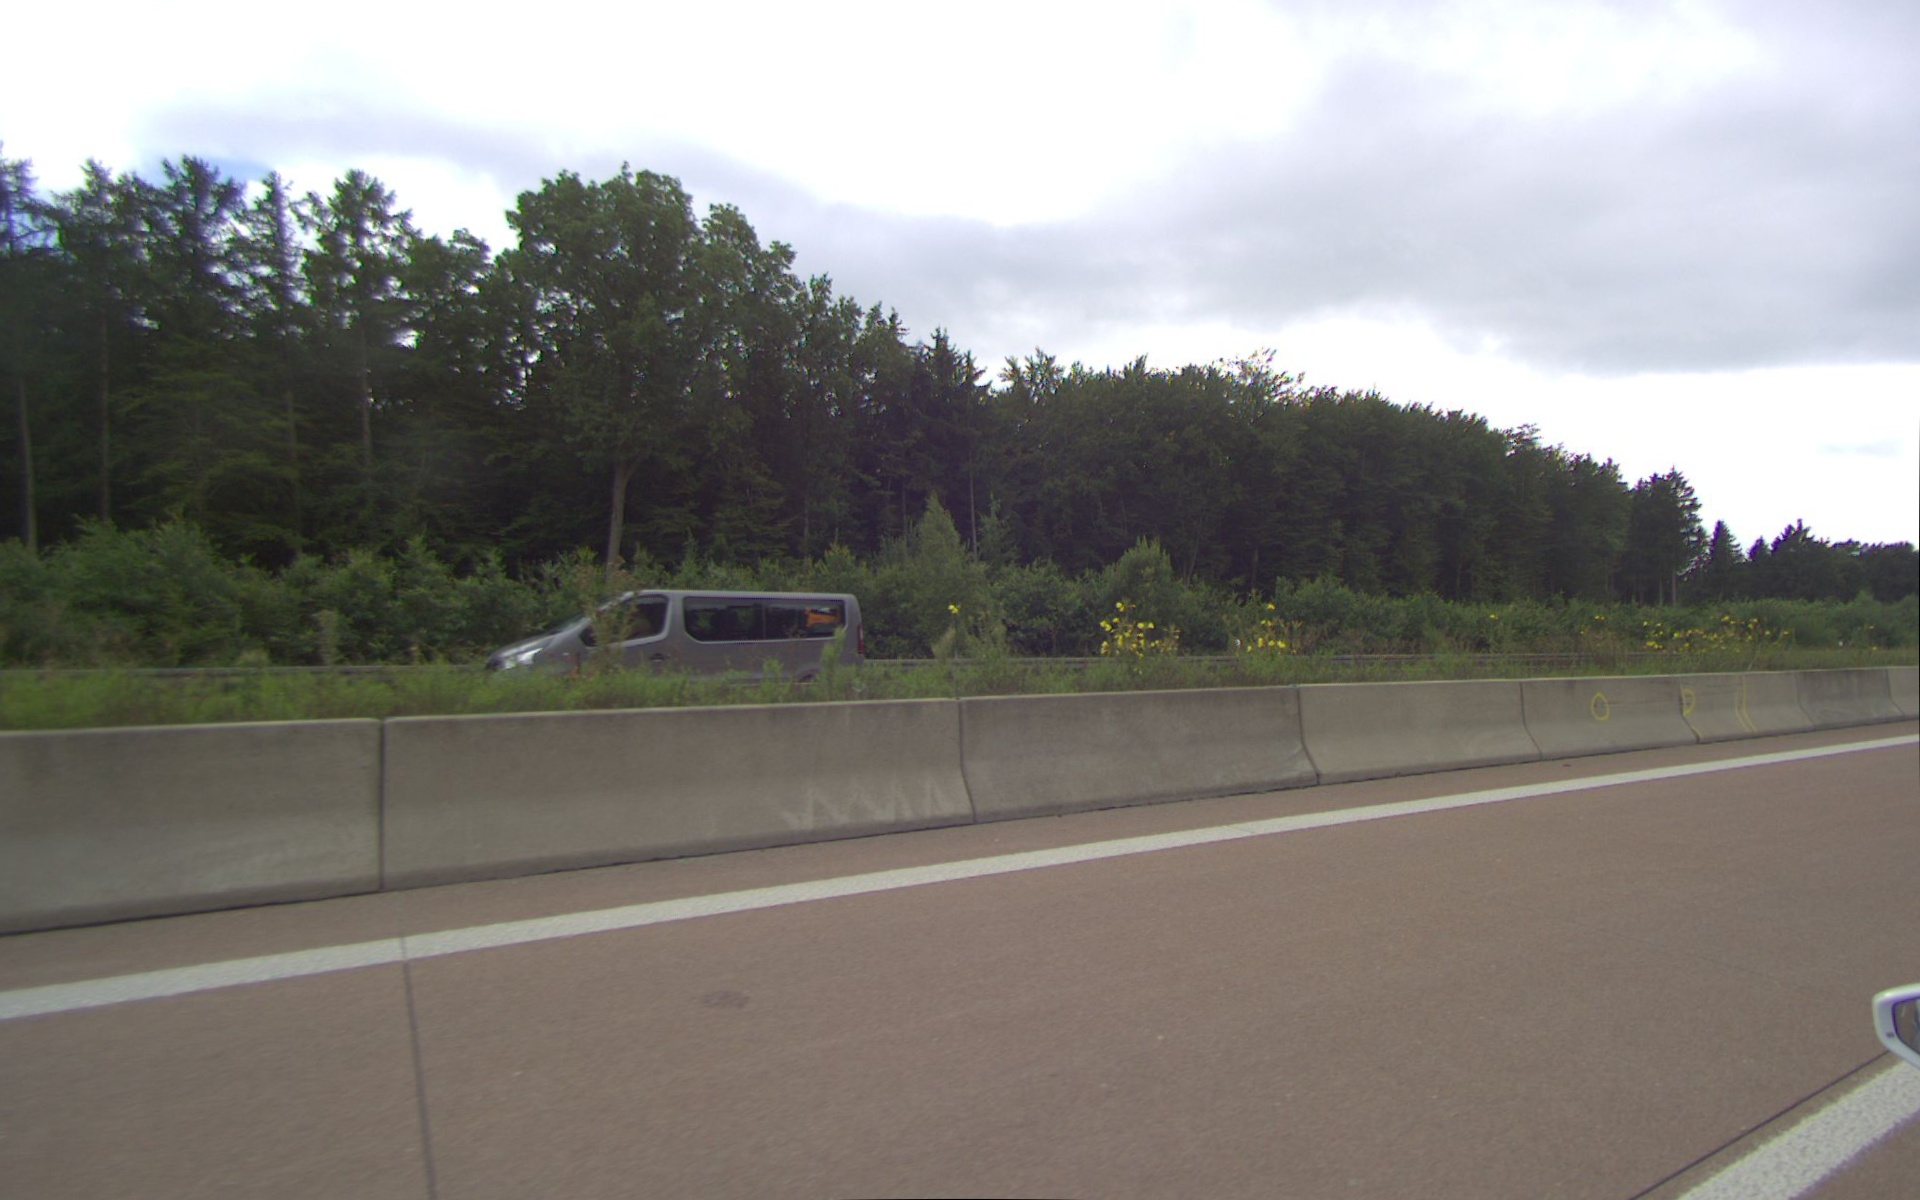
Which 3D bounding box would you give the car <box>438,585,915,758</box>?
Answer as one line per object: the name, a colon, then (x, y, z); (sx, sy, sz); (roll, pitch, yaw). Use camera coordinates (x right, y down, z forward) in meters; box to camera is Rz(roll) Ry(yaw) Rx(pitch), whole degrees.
car: (-3.960, 0.911, 14.590); (6.305, 2.040, 2.211); (1, 1, -31)
